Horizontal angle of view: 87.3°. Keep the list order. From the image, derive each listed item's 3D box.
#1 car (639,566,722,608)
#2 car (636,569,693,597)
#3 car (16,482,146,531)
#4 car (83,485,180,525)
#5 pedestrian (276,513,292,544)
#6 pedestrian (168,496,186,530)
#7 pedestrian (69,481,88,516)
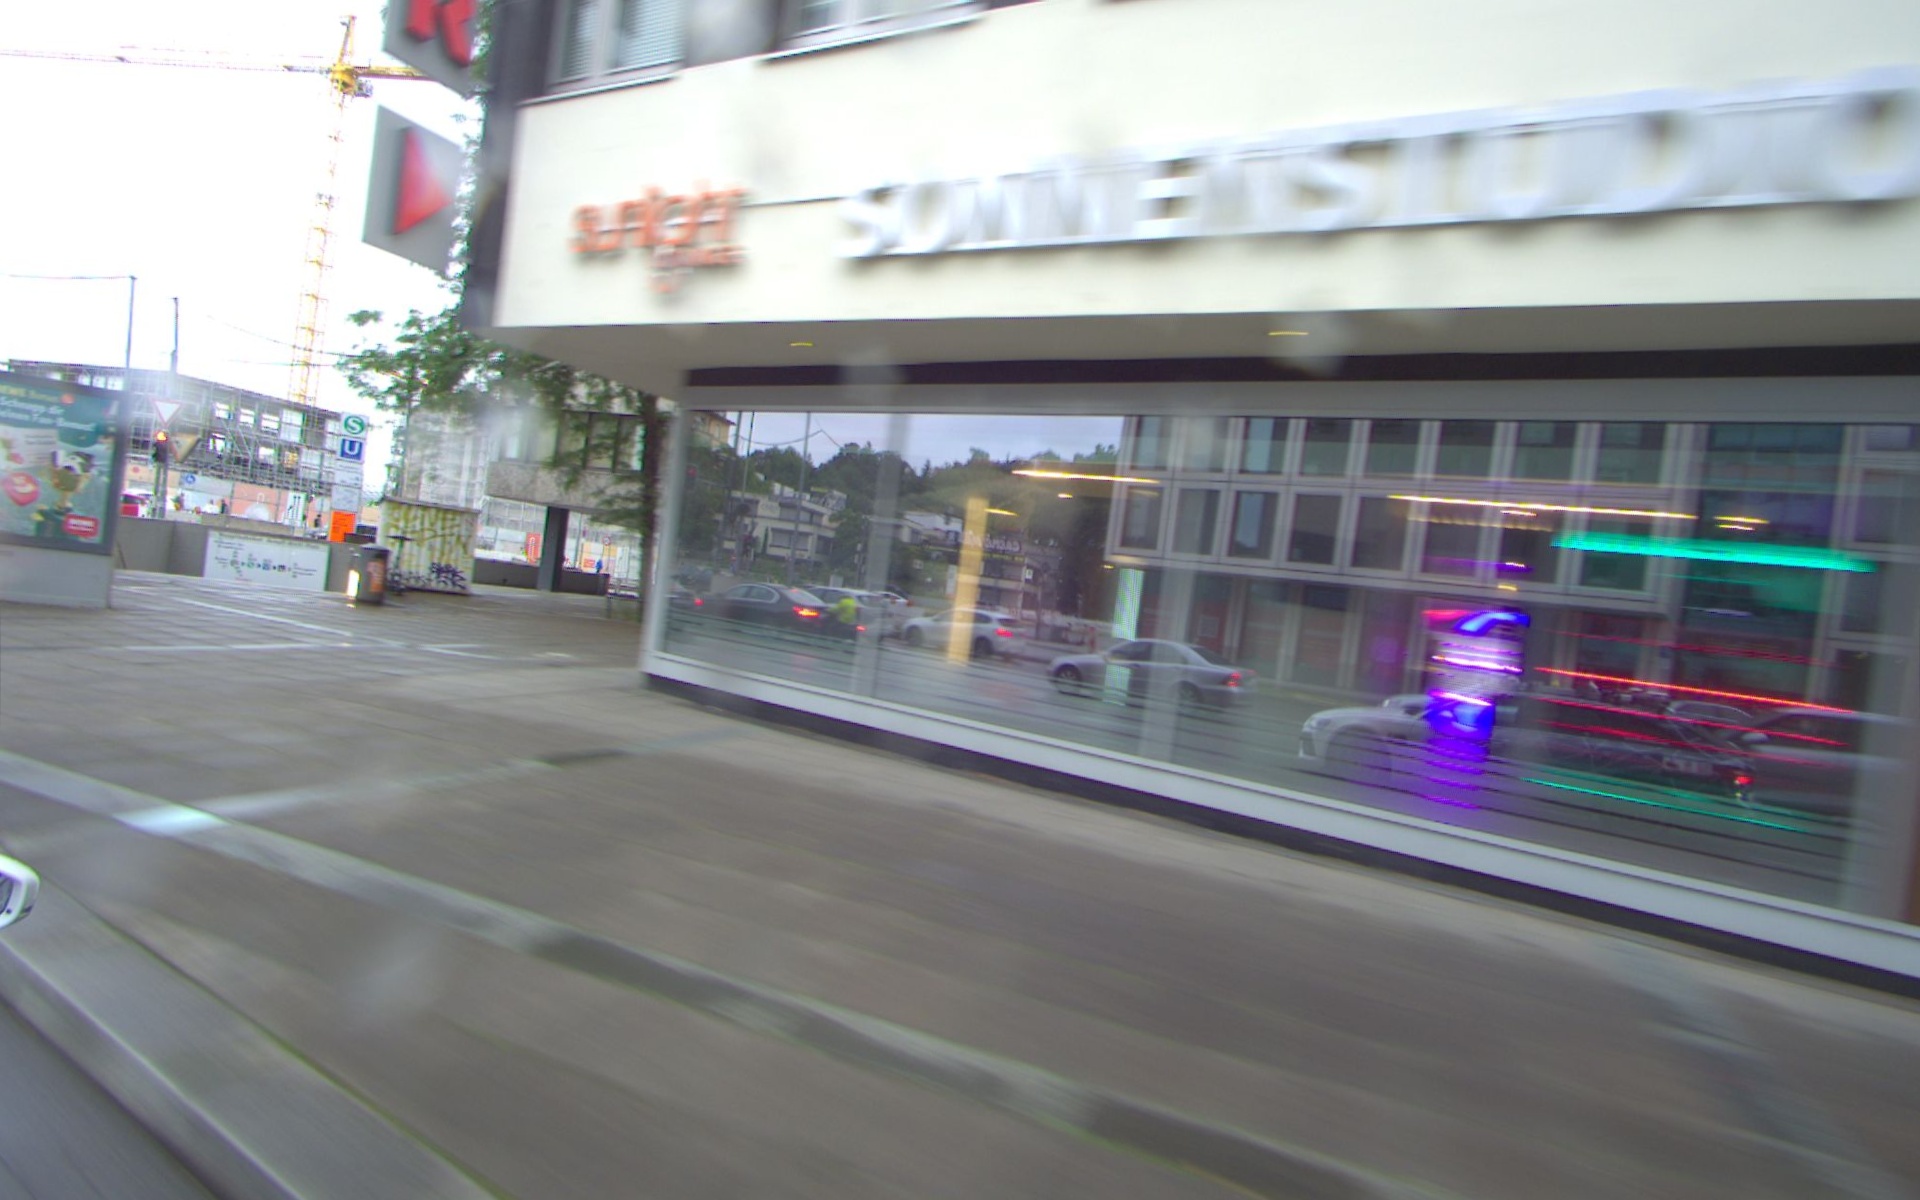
[{"bbox_3d":[-14.715,-0.651,53.117,1.964,1.659,4.000,7,-2,24],"label":"car"},{"bbox_3d":[-22.627,-1.294,77.283,1.963,1.570,4.055,7,-2,22],"label":"car"},{"bbox_3d":[-35.785,-3.788,41.051,1.636,1.319,3.547,7,-2,23],"label":"car"},{"bbox_3d":[-43.726,-5.002,53.130,1.760,1.490,3.548,6,-2,38],"label":"car"},{"bbox_3d":[-44.809,-4.728,66.695,0.356,1.920,0.576,7,-1,28],"label":"pedestrian"},{"bbox_3d":[-46.767,-5.217,60.072,0.356,1.920,0.576,7,-1,30],"label":"pedestrian"},{"bbox_3d":[-50.875,-5.836,58.053,0.357,1.920,0.575,6,-1,37],"label":"pedestrian"}]
